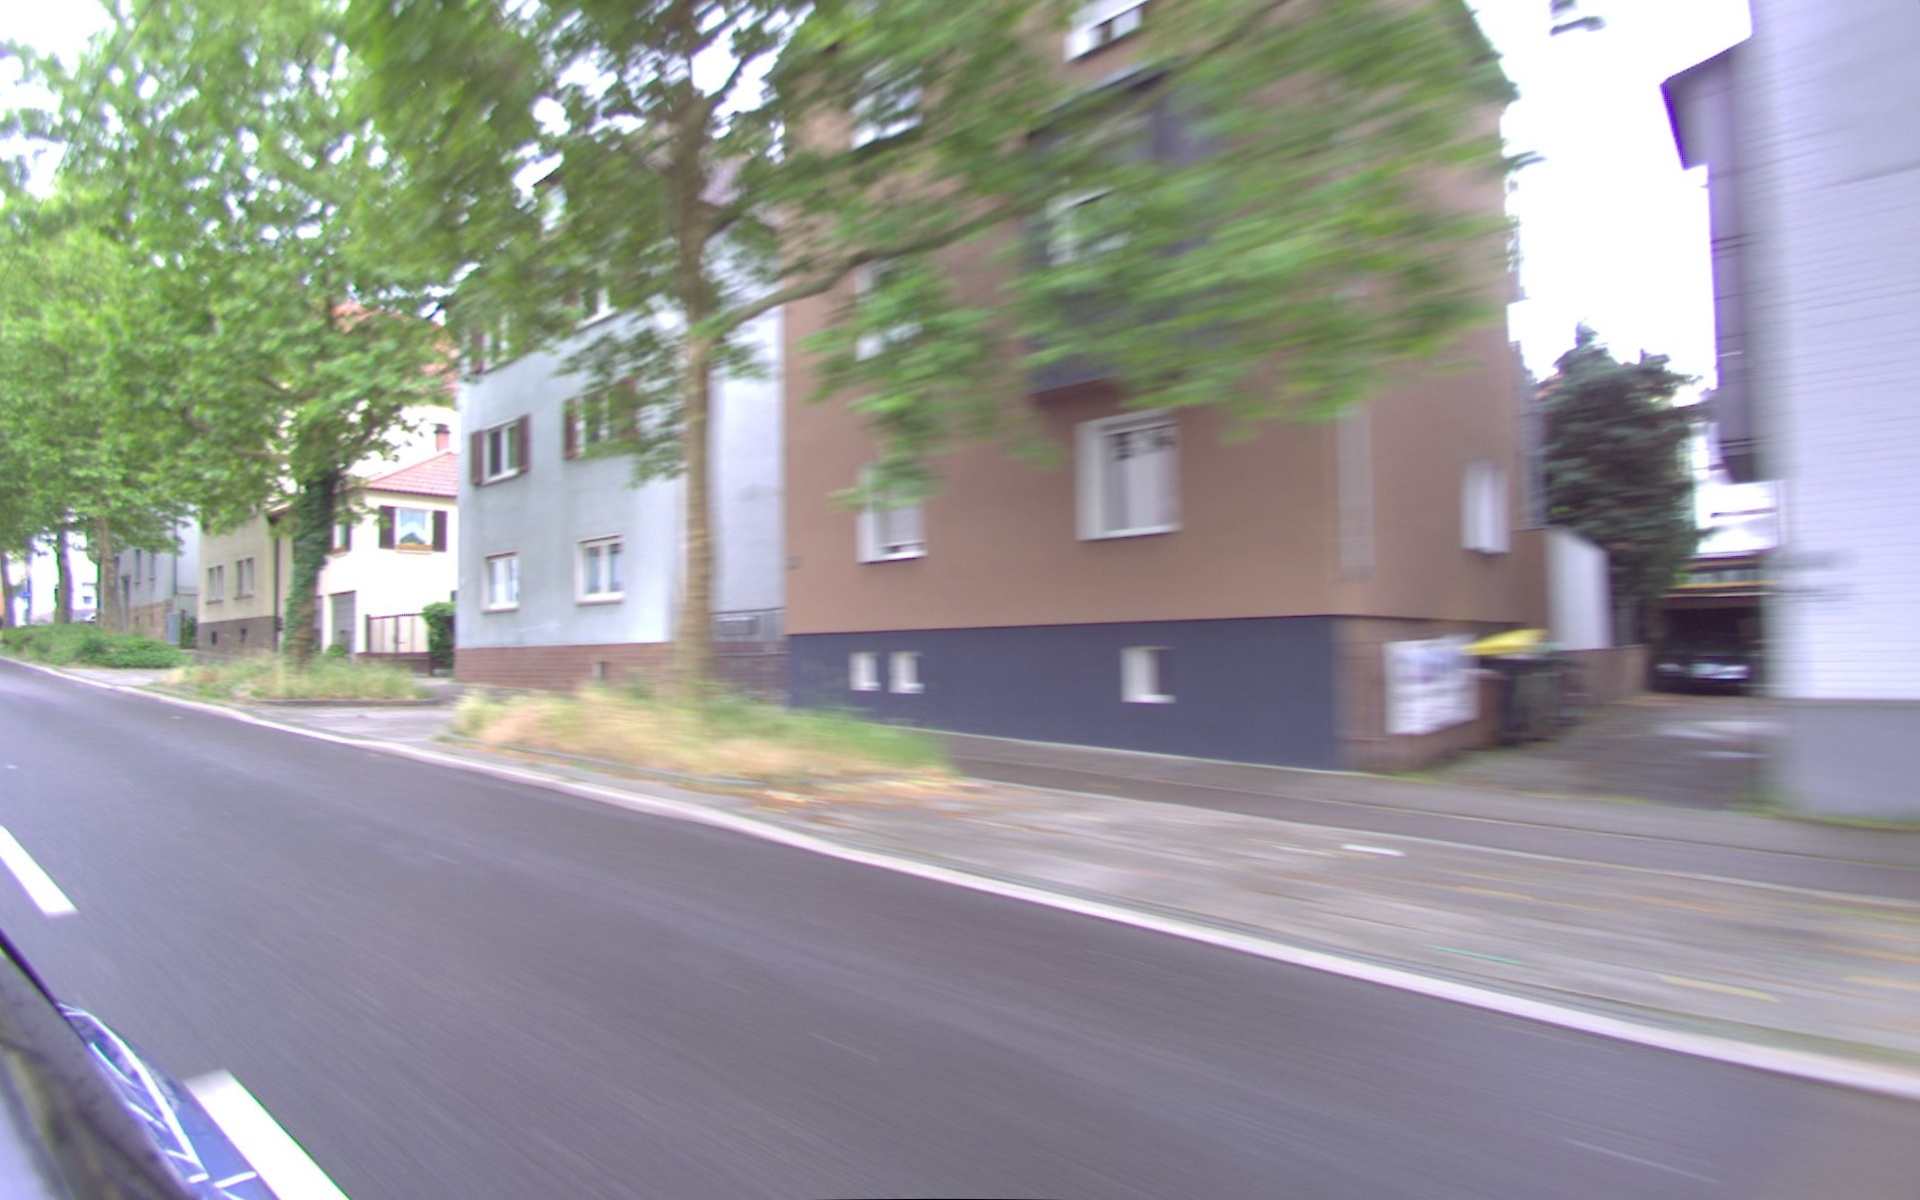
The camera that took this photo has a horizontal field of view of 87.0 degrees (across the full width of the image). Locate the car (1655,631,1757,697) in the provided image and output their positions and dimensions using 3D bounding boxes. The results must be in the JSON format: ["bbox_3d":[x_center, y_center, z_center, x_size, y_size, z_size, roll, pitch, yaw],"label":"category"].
[{"bbox_3d":[18.169,1.502,24.594,1.799,1.449,3.543,-1,-2,39],"label":"car"}]
